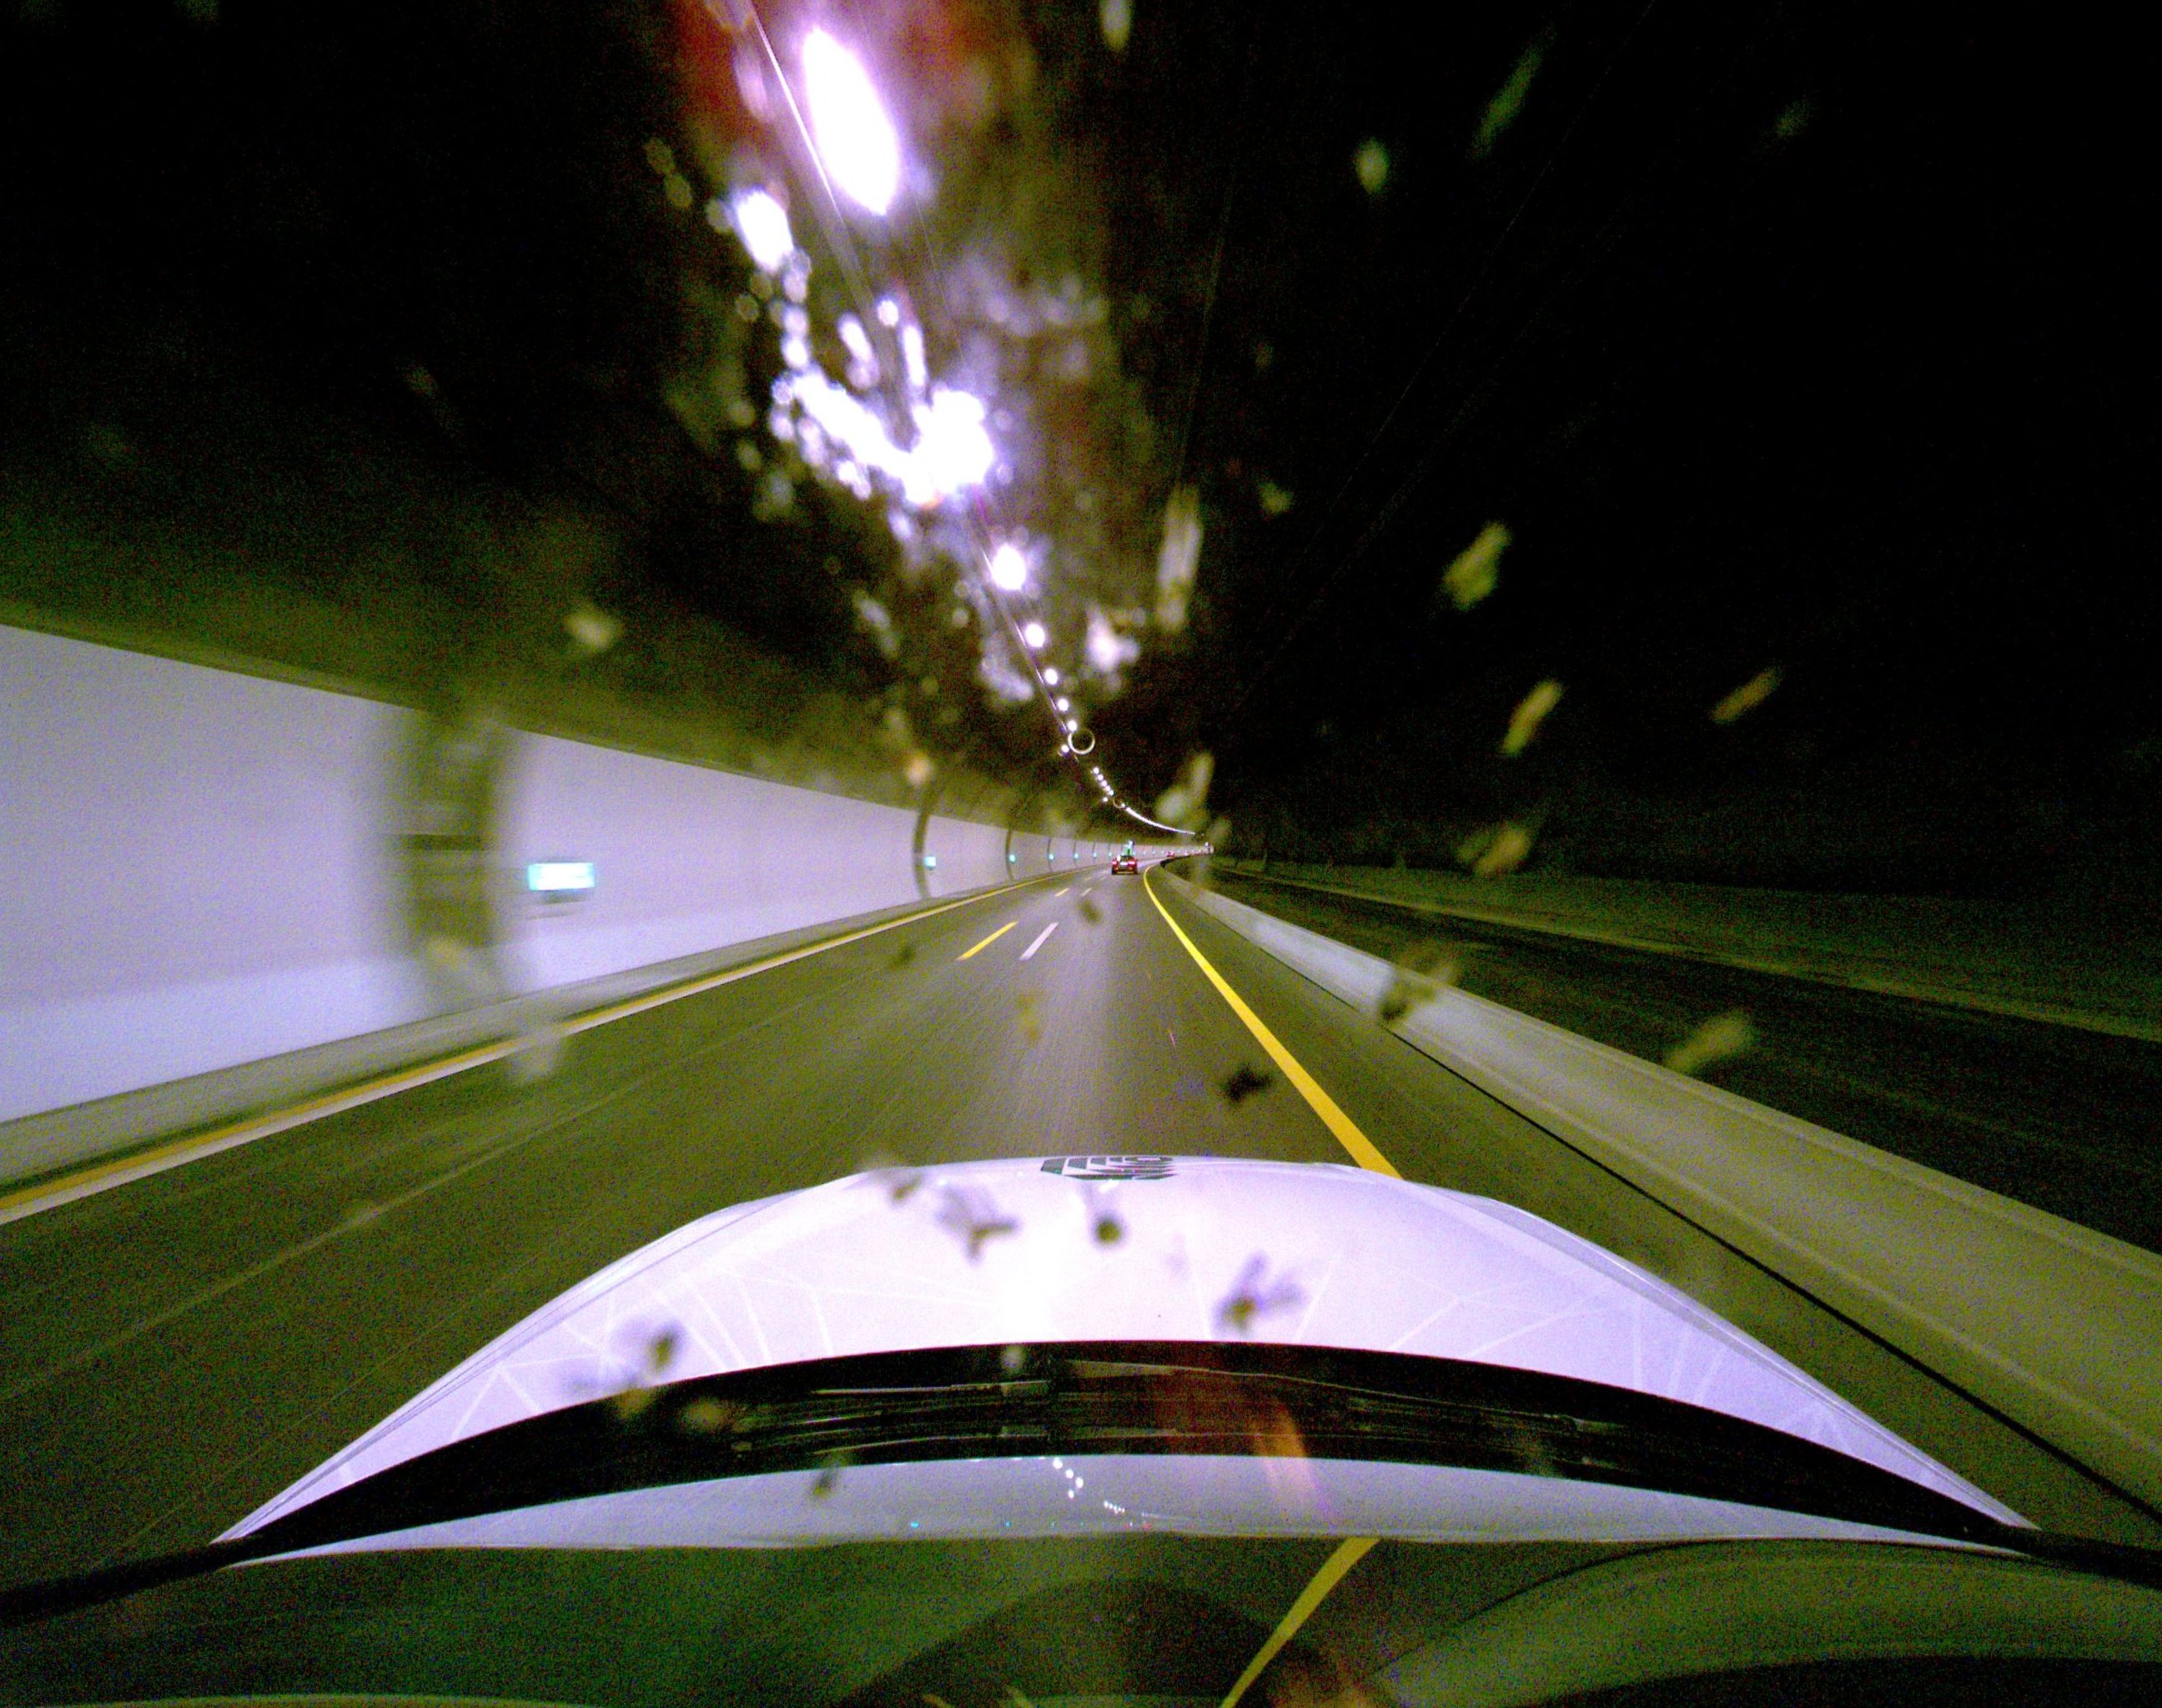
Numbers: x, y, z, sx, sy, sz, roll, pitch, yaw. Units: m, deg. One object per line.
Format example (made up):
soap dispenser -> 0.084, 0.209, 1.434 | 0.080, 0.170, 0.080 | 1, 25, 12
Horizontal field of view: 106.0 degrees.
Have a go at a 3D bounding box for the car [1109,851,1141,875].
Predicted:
car -> 3.309, 0.629, 61.128 | 2.130, 1.706, 4.007 | -1, 0, 6

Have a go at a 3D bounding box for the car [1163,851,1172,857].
car -> 23.349, 0.088, 218.667 | 2.152, 1.486, 4.010 | -1, 0, 9

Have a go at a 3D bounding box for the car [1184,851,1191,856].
car -> 30.208, -0.228, 230.589 | 1.584, 1.333, 3.763 | -1, 0, 12
